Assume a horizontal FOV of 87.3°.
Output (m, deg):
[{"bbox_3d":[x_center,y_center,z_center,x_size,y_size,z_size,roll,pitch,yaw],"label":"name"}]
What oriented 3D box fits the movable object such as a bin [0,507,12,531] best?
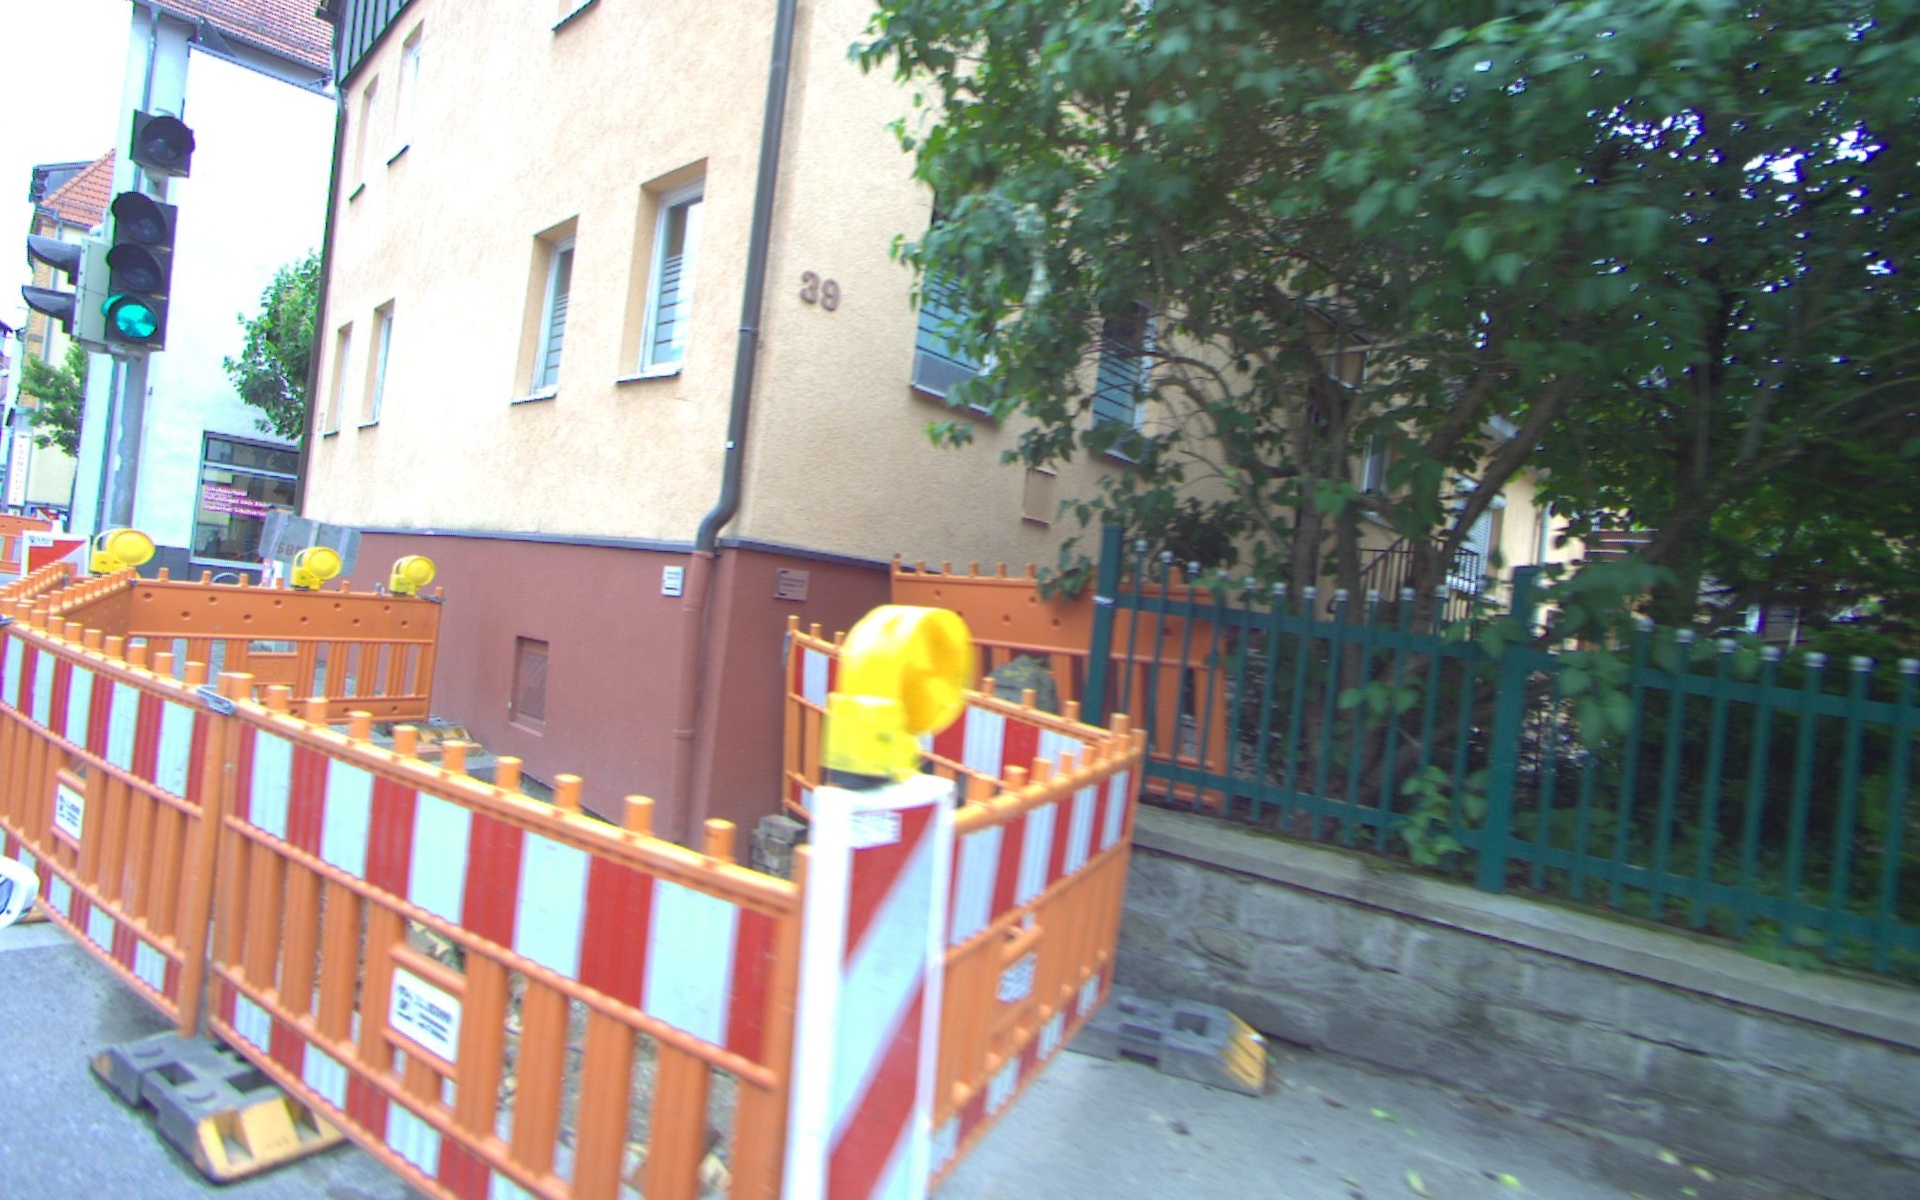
[{"bbox_3d":[-40.167,-3.414,42.083,0.617,0.932,0.575,7,0,-40],"label":"movable object such as a bin"}]
